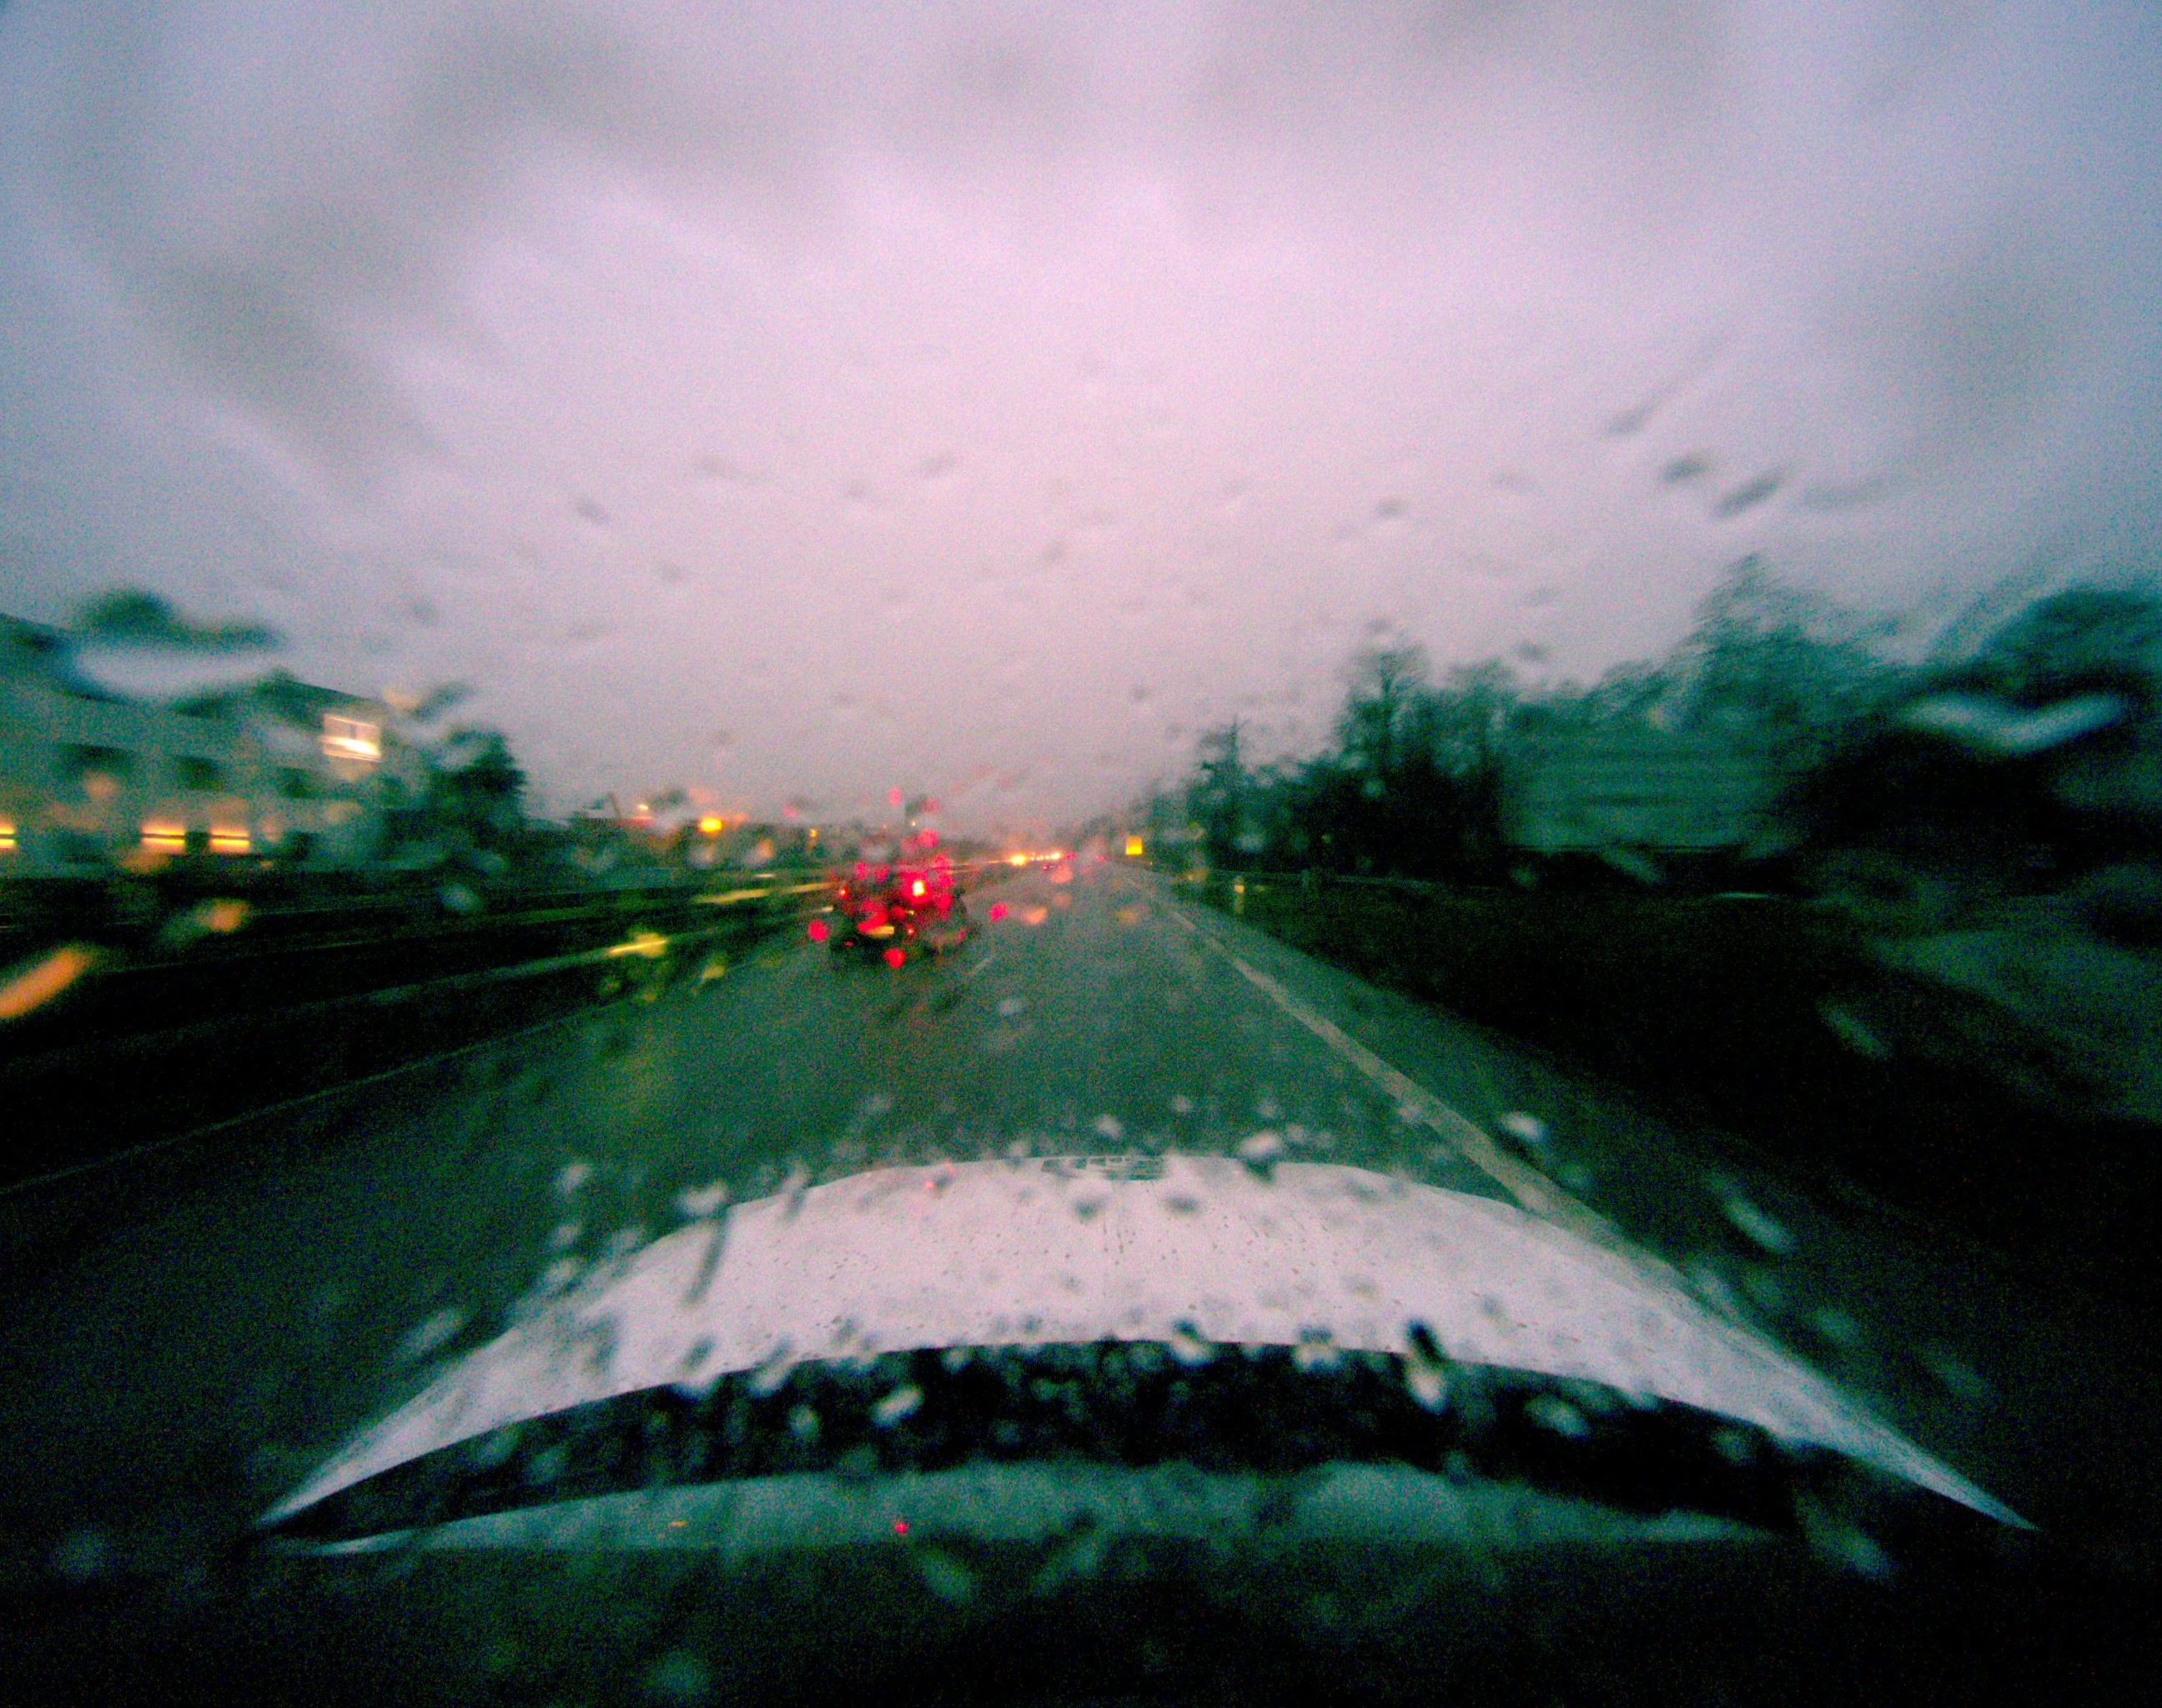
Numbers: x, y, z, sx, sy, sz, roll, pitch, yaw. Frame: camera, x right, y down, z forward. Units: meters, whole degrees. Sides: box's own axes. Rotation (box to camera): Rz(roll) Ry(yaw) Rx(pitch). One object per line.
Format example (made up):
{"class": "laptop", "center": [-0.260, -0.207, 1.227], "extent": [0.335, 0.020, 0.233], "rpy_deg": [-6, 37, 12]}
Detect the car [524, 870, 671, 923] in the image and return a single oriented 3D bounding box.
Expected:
{"class": "car", "center": [-12.215, 1.029, 20.860], "extent": [1.453, 1.187, 3.799], "rpy_deg": [0, 0, 1]}

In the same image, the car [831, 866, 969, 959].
{"class": "car", "center": [-3.069, 0.934, 14.581], "extent": [1.621, 1.392, 3.998], "rpy_deg": [1, -1, -1]}

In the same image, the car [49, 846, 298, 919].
{"class": "car", "center": [-27.607, 0.803, 25.118], "extent": [2.149, 2.014, 4.958], "rpy_deg": [0, 0, -1]}

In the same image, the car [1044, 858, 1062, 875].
{"class": "car", "center": [-2.267, 1.012, 66.518], "extent": [1.411, 1.317, 3.082], "rpy_deg": [0, 0, 0]}
